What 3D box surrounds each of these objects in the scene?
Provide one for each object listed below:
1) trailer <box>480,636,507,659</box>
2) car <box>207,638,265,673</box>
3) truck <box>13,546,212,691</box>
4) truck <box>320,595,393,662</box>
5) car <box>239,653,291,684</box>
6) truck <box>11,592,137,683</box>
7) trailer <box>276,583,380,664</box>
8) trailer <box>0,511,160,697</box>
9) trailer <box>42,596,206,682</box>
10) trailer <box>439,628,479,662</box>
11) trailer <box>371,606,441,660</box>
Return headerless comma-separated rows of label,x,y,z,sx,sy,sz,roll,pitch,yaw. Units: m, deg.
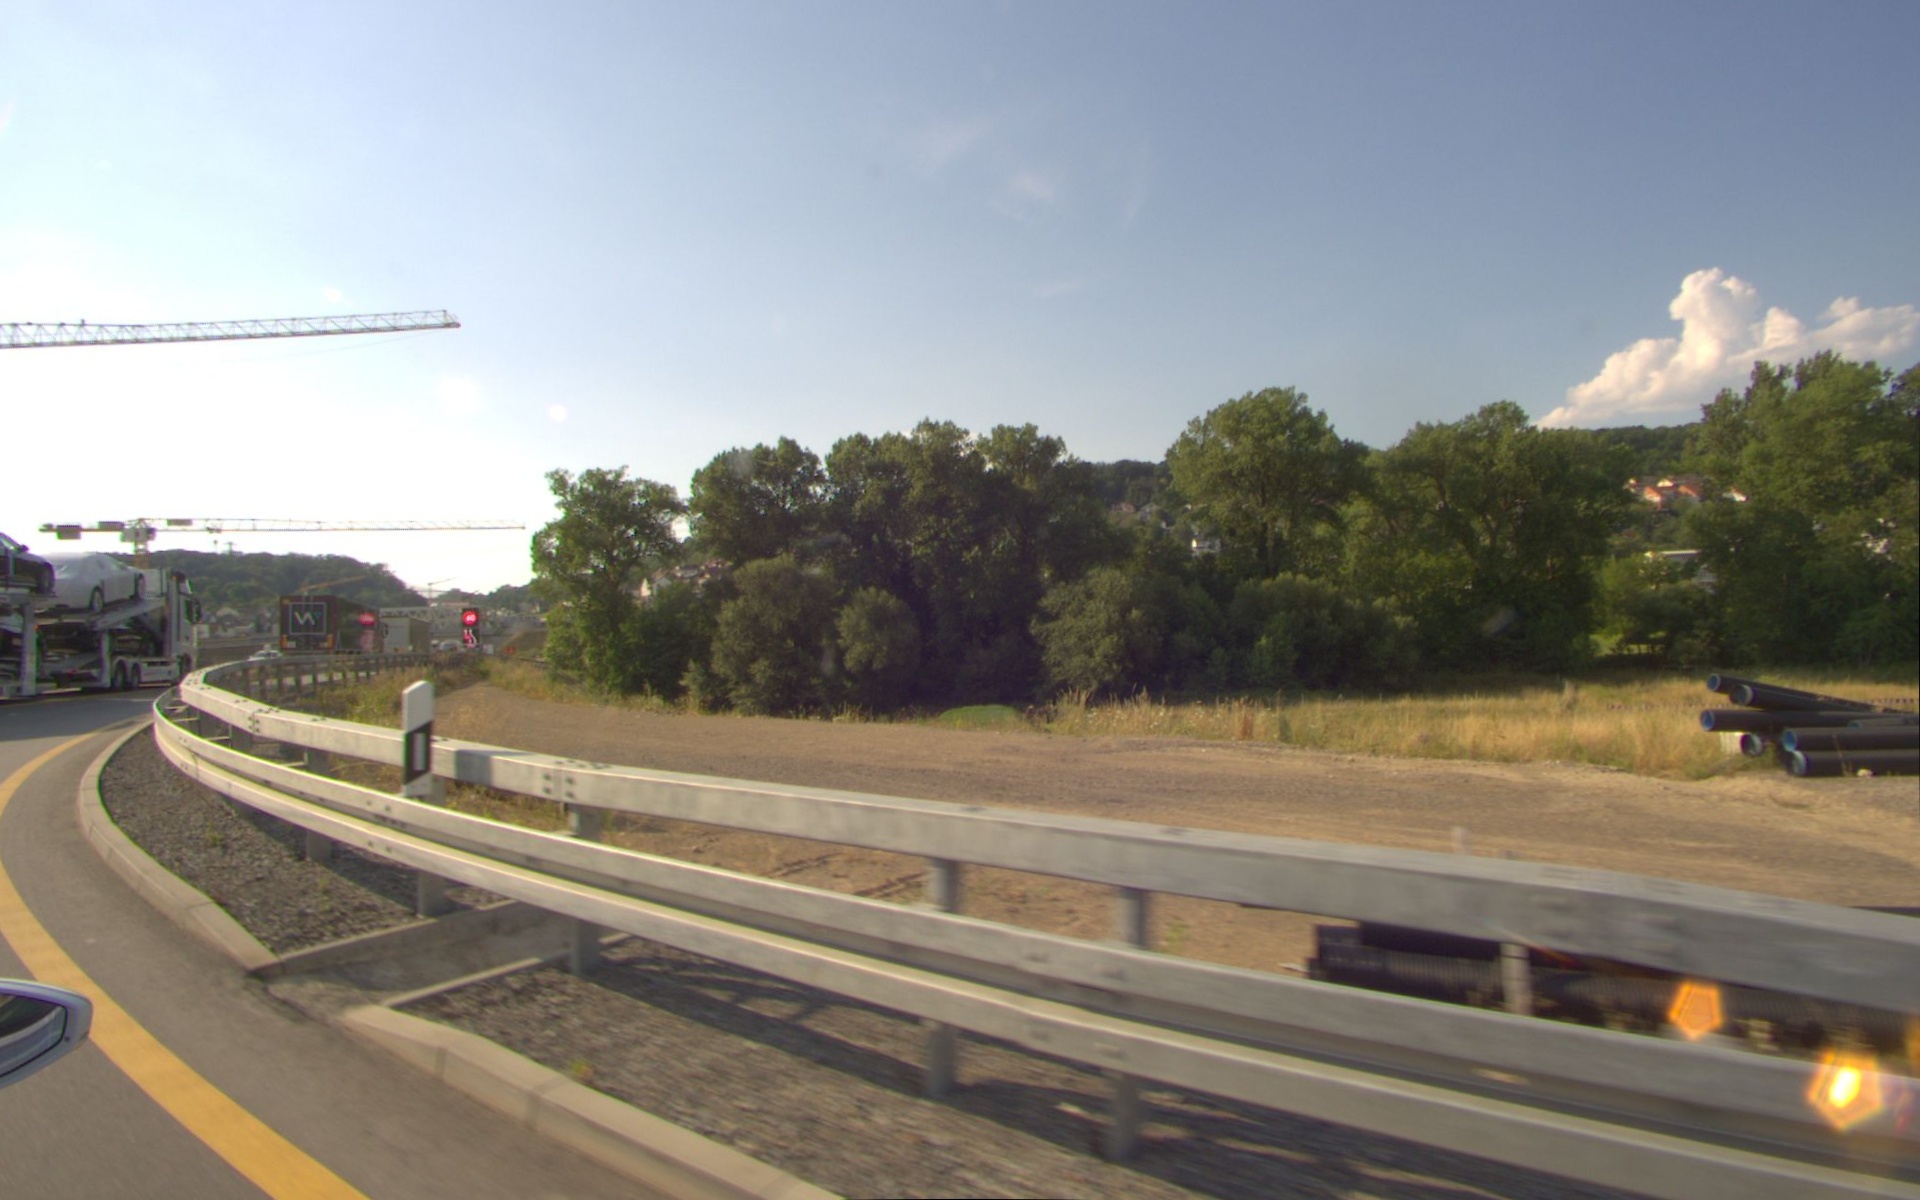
trailer,-93.918,9.545,201.899,4.042,4.368,14.218,-1,-2,-22
car,-40.513,3.116,56.104,1.806,1.774,3.989,-2,-2,-24
truck,-26.370,0.650,31.577,2.810,4.047,6.609,-1,-2,-22
truck,-38.875,1.873,64.700,2.845,4.047,6.610,-1,-2,-21
car,-41.940,4.099,60.505,1.806,1.675,3.989,-2,-2,-24
truck,-43.706,1.902,49.651,2.592,4.118,6.116,-2,-2,-21
trailer,-36.265,1.498,57.899,2.918,4.143,10.771,-2,-2,-21
trailer,-22.805,0.183,22.751,2.819,4.046,15.709,-1,-2,-22
trailer,-46.294,2.250,56.147,2.592,4.117,14.049,-2,-2,-21
trailer,-64.550,5.911,129.310,3.340,4.046,14.710,-1,-2,-22
trailer,-46.499,2.902,84.477,3.340,4.046,14.710,-1,-2,-22
